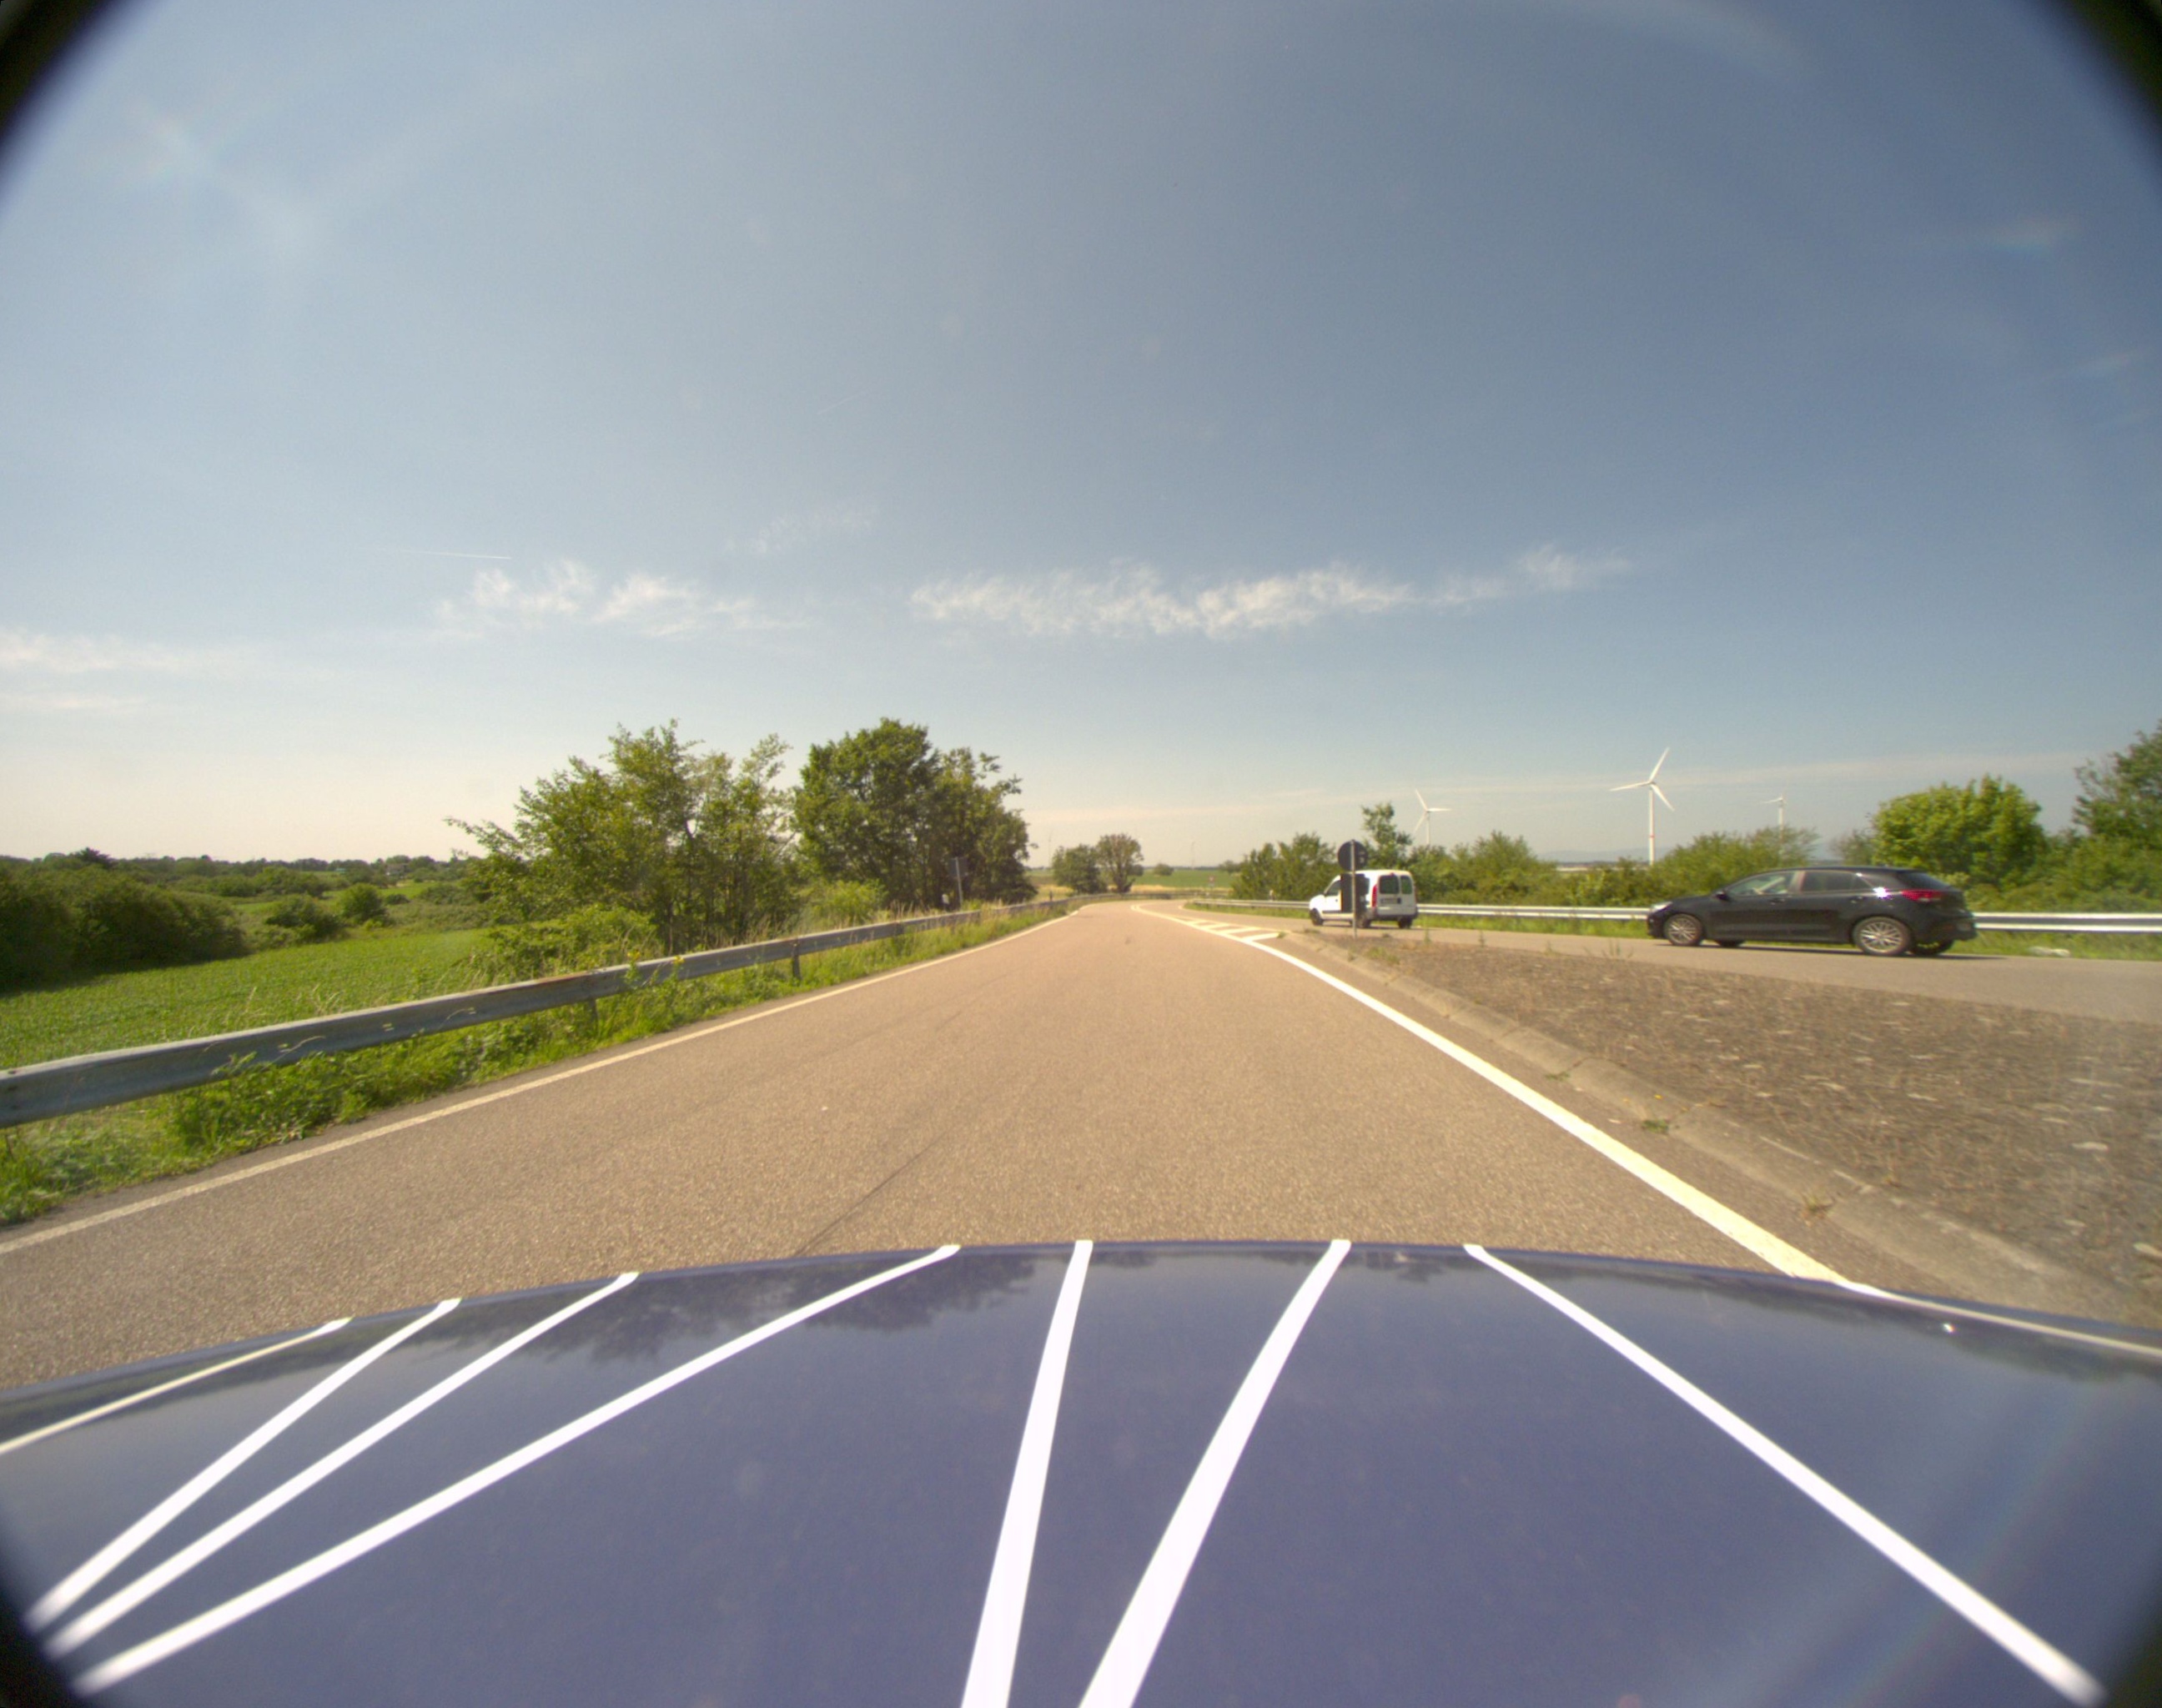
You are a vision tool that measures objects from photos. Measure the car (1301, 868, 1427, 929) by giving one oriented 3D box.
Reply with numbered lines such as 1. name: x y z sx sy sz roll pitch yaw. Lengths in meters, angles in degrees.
1. car: 8.870 1.399 24.217 1.743 1.750 4.080 0 -3 -13

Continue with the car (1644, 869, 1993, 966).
1. car: 12.252 1.008 12.957 1.716 1.387 3.880 1 -3 -26
